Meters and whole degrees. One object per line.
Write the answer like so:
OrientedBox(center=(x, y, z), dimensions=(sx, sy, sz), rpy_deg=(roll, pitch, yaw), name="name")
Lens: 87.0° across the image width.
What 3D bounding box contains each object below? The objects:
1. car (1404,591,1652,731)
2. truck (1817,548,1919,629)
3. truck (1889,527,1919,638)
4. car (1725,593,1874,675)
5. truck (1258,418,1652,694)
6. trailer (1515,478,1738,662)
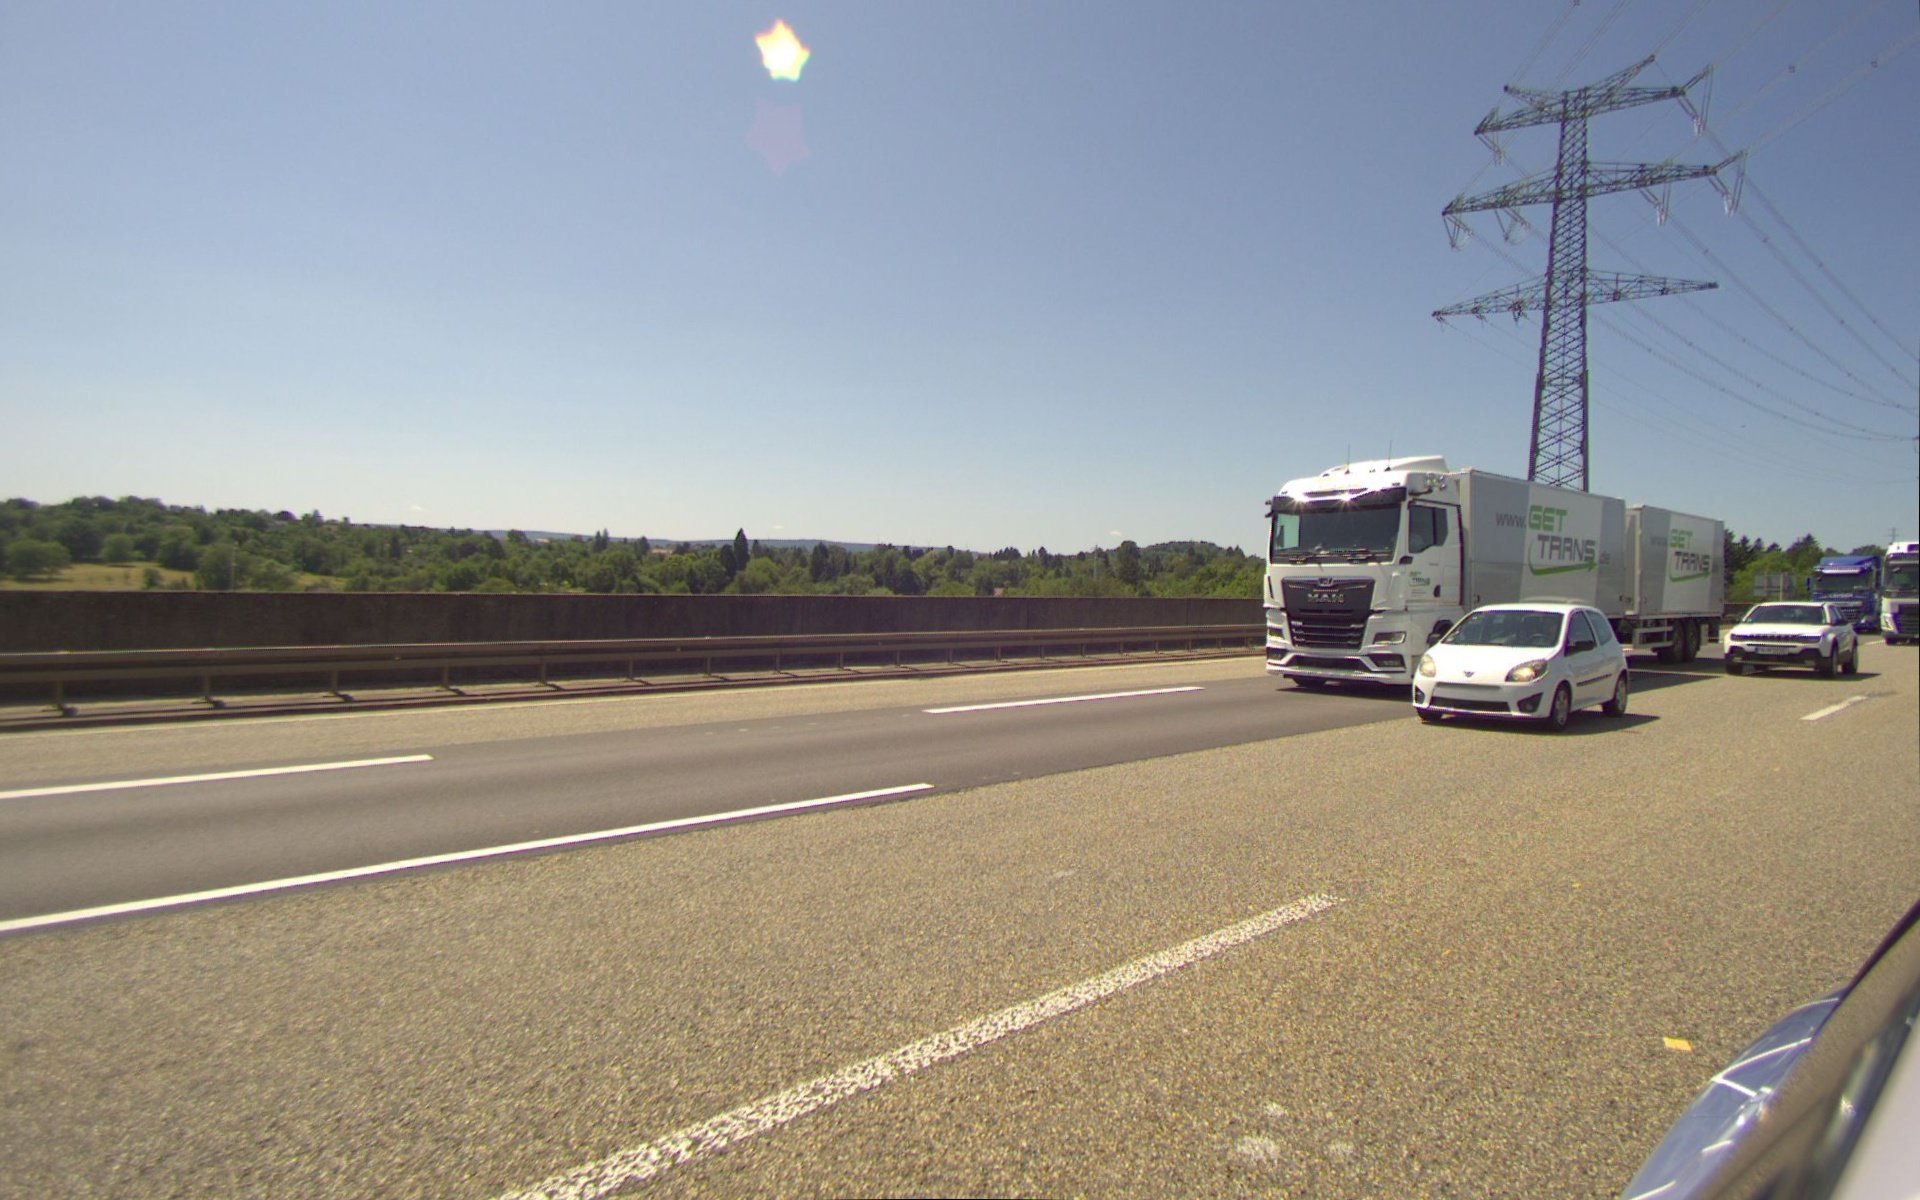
OrientedBox(center=(7.348, 0.669, 12.948), dimensions=(3.760, 1.529, 1.657), rpy_deg=(0, -1, -42), name="car")
OrientedBox(center=(48.115, -0.604, 53.438), dimensions=(11.079, 3.929, 2.837), rpy_deg=(-1, 0, -42), name="truck")
OrientedBox(center=(40.840, -0.621, 41.258), dimensions=(14.004, 4.090, 2.716), rpy_deg=(0, -1, -41), name="truck")
OrientedBox(center=(17.633, 0.639, 21.200), dimensions=(3.784, 1.549, 1.775), rpy_deg=(-1, 0, -40), name="car")
OrientedBox(center=(9.924, -0.640, 19.247), dimensions=(11.100, 3.980, 2.693), rpy_deg=(0, 0, -41), name="truck")
OrientedBox(center=(16.948, -0.656, 25.480), dimensions=(7.638, 3.991, 2.749), rpy_deg=(0, 0, -41), name="trailer")
